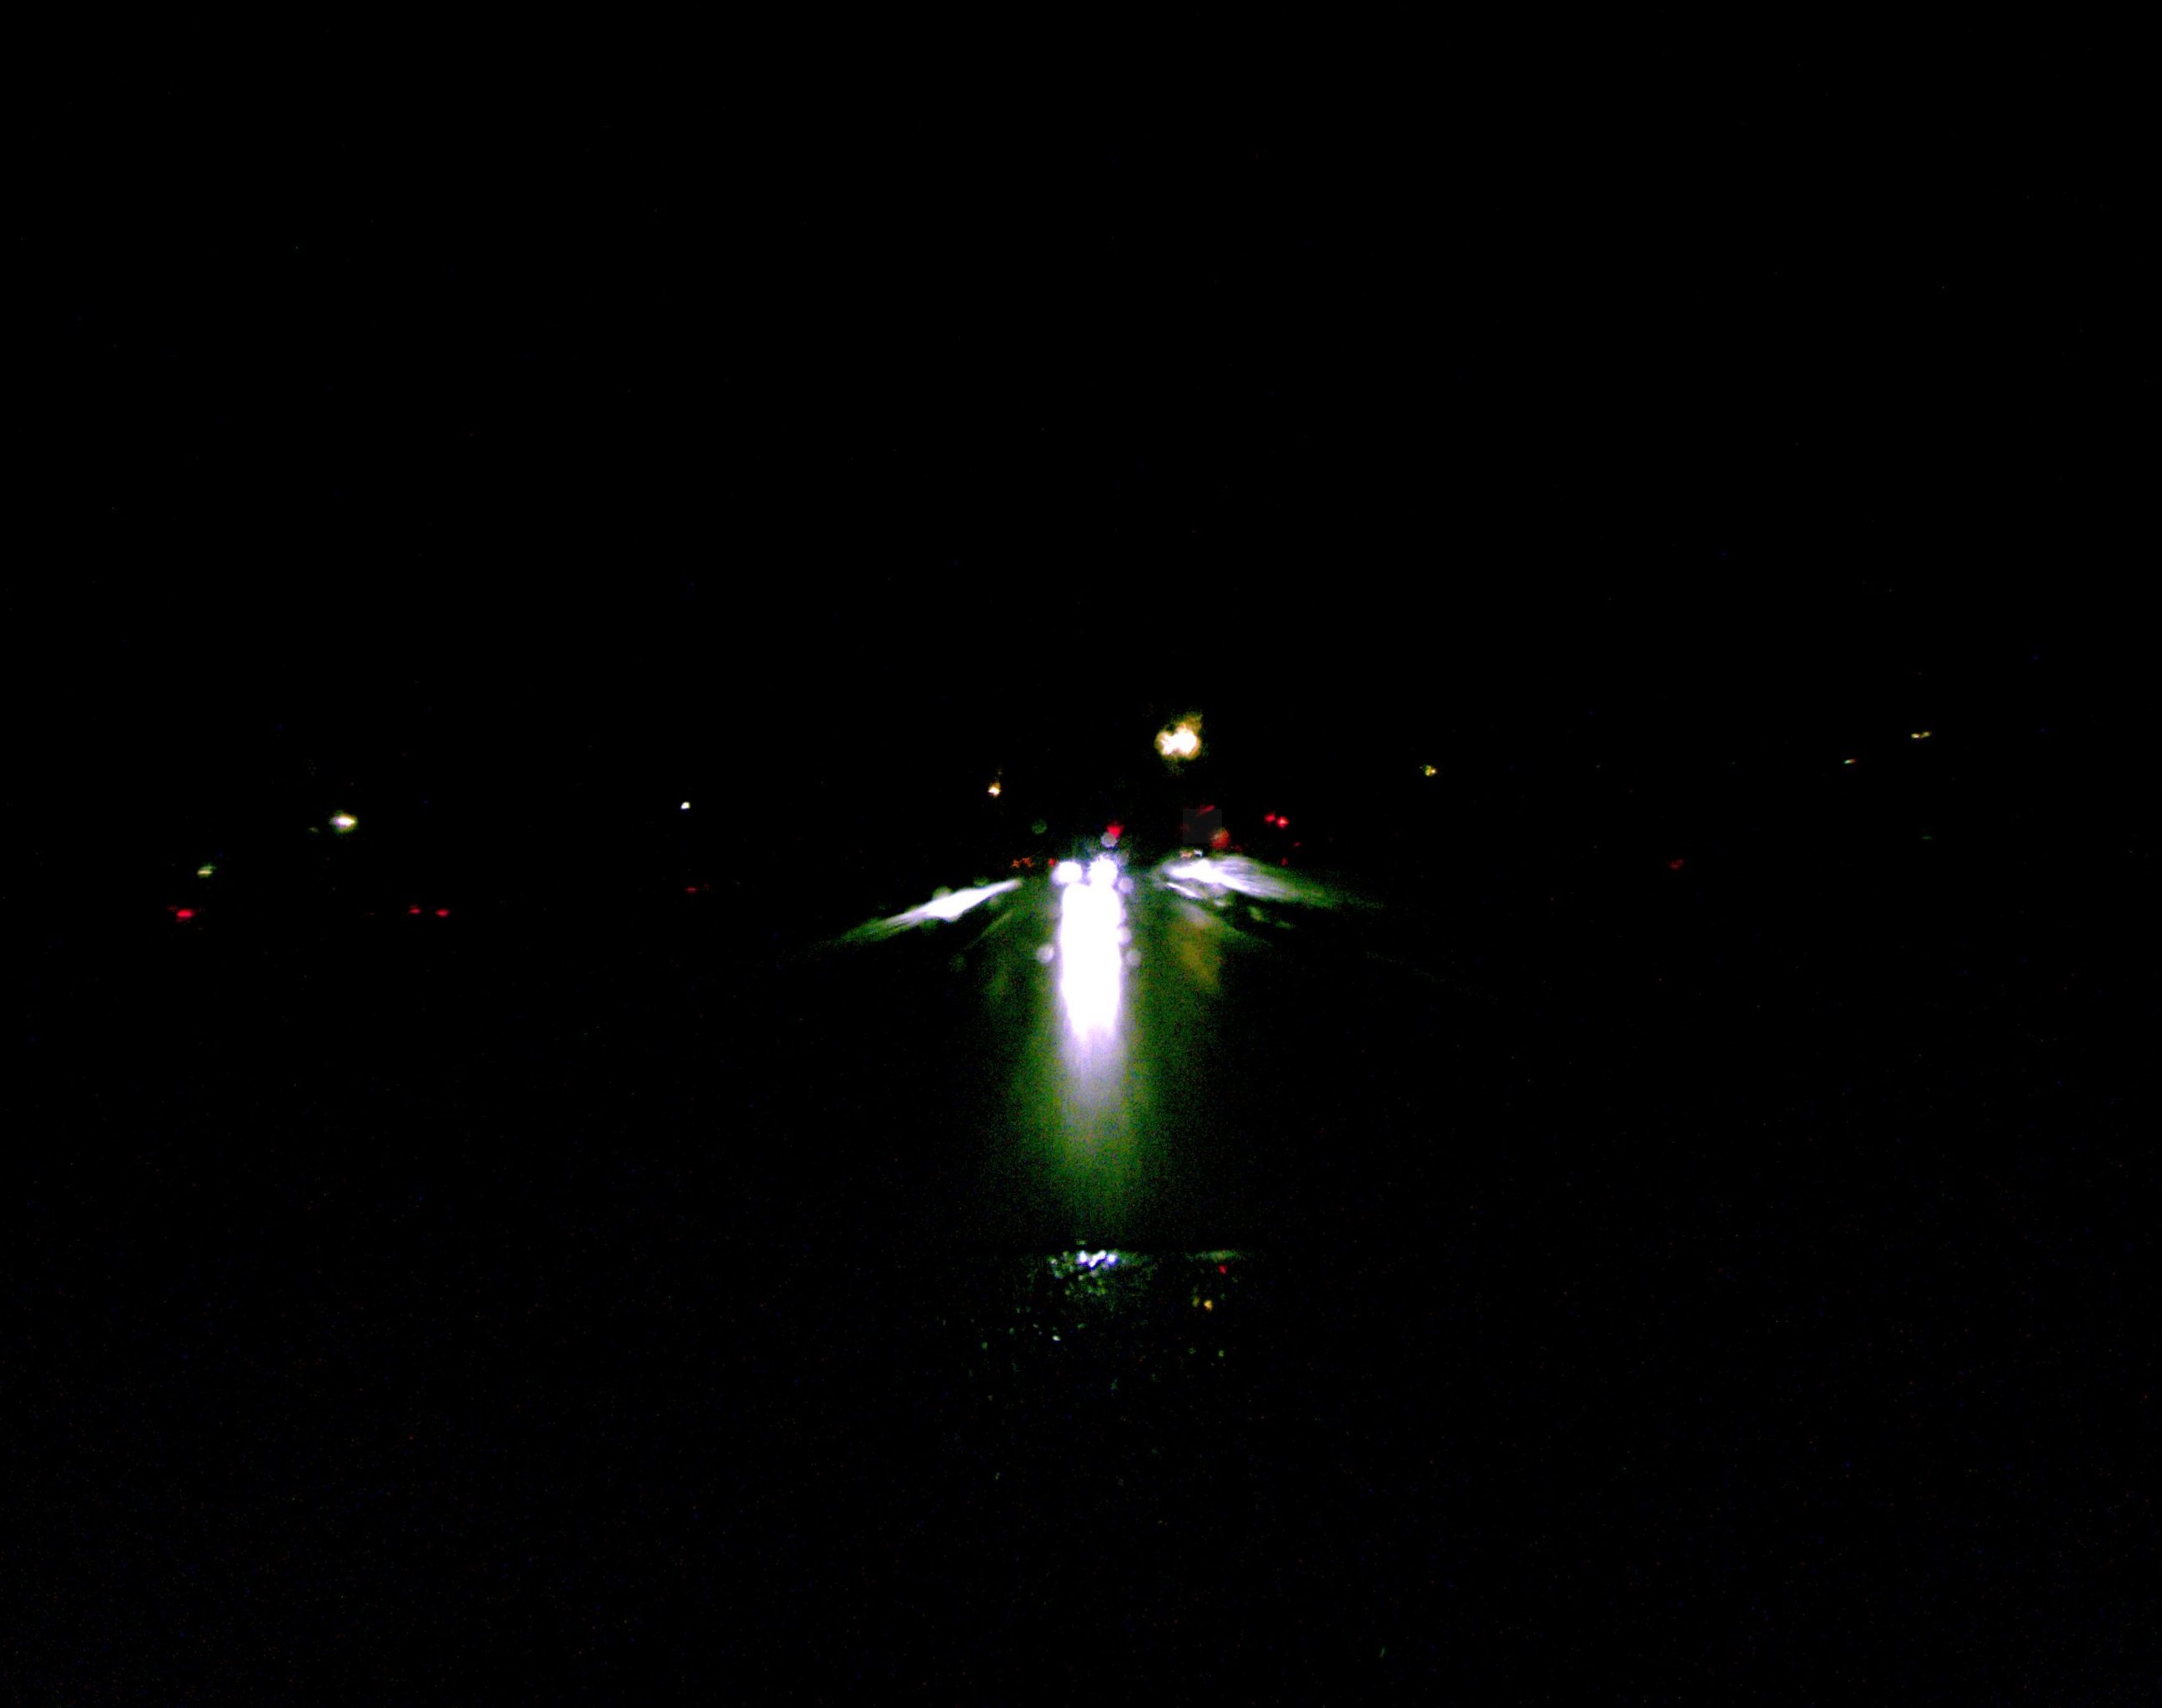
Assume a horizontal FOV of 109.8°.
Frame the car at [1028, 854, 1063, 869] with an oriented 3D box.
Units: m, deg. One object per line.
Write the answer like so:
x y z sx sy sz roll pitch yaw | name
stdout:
-4.417 0.899 93.390 4.002 1.784 1.996 0 4 -14 | car

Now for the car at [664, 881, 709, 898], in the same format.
-42.659 3.832 82.223 4.002 1.432 1.717 -5 -1 -17 | car

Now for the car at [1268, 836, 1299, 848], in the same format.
28.996 -1.720 108.833 4.002 1.432 1.717 -5 -1 -17 | car

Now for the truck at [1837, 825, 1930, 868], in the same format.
77.007 -0.650 73.045 2.599 3.689 5.448 -5 0 -26 | truck

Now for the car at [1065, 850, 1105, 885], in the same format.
0.165 0.695 42.517 1.999 1.737 4.099 -4 0 -1 | car

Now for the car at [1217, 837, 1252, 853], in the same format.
20.765 -1.271 102.822 4.001 1.783 1.998 -5 0 -13 | car

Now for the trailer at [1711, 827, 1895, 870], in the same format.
74.212 -0.397 78.846 2.603 3.703 13.628 -5 0 -26 | trailer
